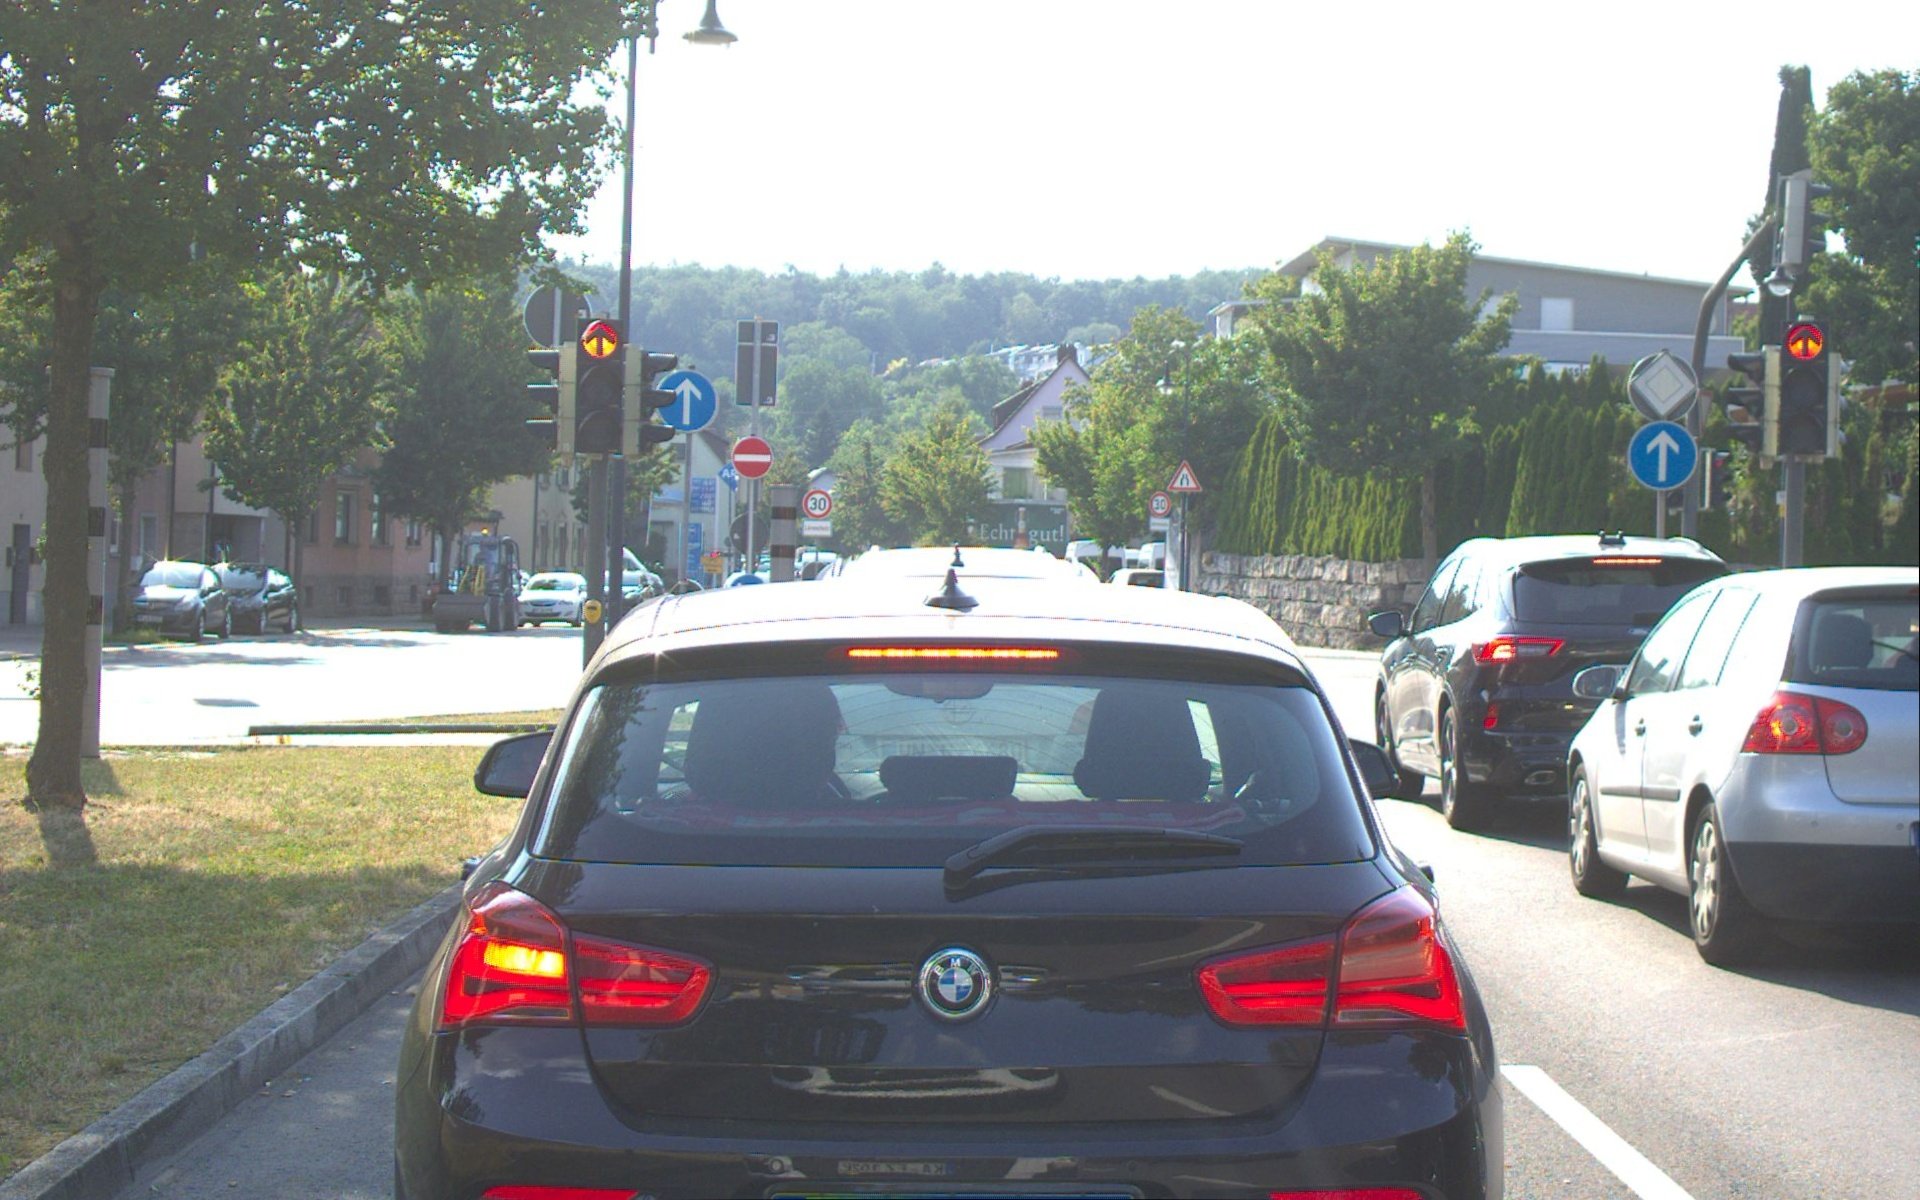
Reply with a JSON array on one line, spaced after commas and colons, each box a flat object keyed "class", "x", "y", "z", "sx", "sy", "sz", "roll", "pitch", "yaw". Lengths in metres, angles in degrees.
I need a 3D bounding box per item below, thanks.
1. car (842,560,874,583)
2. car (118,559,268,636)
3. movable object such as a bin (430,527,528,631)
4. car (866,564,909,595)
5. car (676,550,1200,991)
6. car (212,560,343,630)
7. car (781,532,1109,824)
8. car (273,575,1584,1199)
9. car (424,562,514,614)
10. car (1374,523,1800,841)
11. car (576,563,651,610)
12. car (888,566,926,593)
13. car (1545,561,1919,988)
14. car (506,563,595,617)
[{"class": "car", "x": -6.615, "y": -1.869, "z": 223.513, "sx": 1.737, "sy": 1.296, "sz": 3.799, "roll": 5, "pitch": 1, "yaw": 2}, {"class": "car", "x": -14.935, "y": -0.066, "z": 67.149, "sx": 1.737, "sy": 1.296, "sz": 4.000, "roll": 5, "pitch": 1, "yaw": 3}, {"class": "movable object such as a bin", "x": -11.595, "y": -0.522, "z": 83.088, "sx": 1.736, "sy": 2.433, "sz": 4.450, "roll": 0, "pitch": 1, "yaw": 0}, {"class": "car", "x": -3.447, "y": -0.987, "z": 164.045, "sx": 1.737, "sy": 1.296, "sz": 3.799, "roll": 5, "pitch": 1, "yaw": 2}, {"class": "car", "x": -0.072, "y": 0.558, "z": 14.001, "sx": 1.788, "sy": 1.488, "sz": 4.281, "roll": -1, "pitch": 1, "yaw": 0}, {"class": "car", "x": -14.518, "y": -0.122, "z": 73.295, "sx": 1.737, "sy": 1.296, "sz": 4.000, "roll": 5, "pitch": 1, "yaw": 2}, {"class": "car", "x": -0.079, "y": 0.393, "z": 21.040, "sx": 1.788, "sy": 1.588, "sz": 4.281, "roll": -1, "pitch": 1, "yaw": 0}, {"class": "car", "x": -0.036, "y": 0.679, "z": 6.855, "sx": 1.788, "sy": 1.393, "sz": 4.281, "roll": -1, "pitch": 1, "yaw": 0}, {"class": "car", "x": -13.854, "y": -0.352, "z": 97.162, "sx": 1.737, "sy": 1.296, "sz": 3.799, "roll": 5, "pitch": 1, "yaw": 2}, {"class": "car", "x": 3.530, "y": 0.398, "z": 20.020, "sx": 1.761, "sy": 1.650, "sz": 3.903, "roll": -1, "pitch": 1, "yaw": 0}, {"class": "car", "x": -10.848, "y": -0.429, "z": 107.822, "sx": 1.737, "sy": 1.296, "sz": 3.799, "roll": 5, "pitch": 1, "yaw": 2}, {"class": "car", "x": -2.891, "y": -1.123, "z": 187.604, "sx": 1.737, "sy": 1.296, "sz": 3.799, "roll": 5, "pitch": 1, "yaw": 2}, {"class": "car", "x": 3.557, "y": 0.577, "z": 13.738, "sx": 1.761, "sy": 1.421, "sz": 3.903, "roll": -1, "pitch": 1, "yaw": 0}, {"class": "car", "x": -11.198, "y": -0.281, "z": 94.290, "sx": 1.737, "sy": 1.296, "sz": 3.799, "roll": 5, "pitch": 1, "yaw": 2}]
